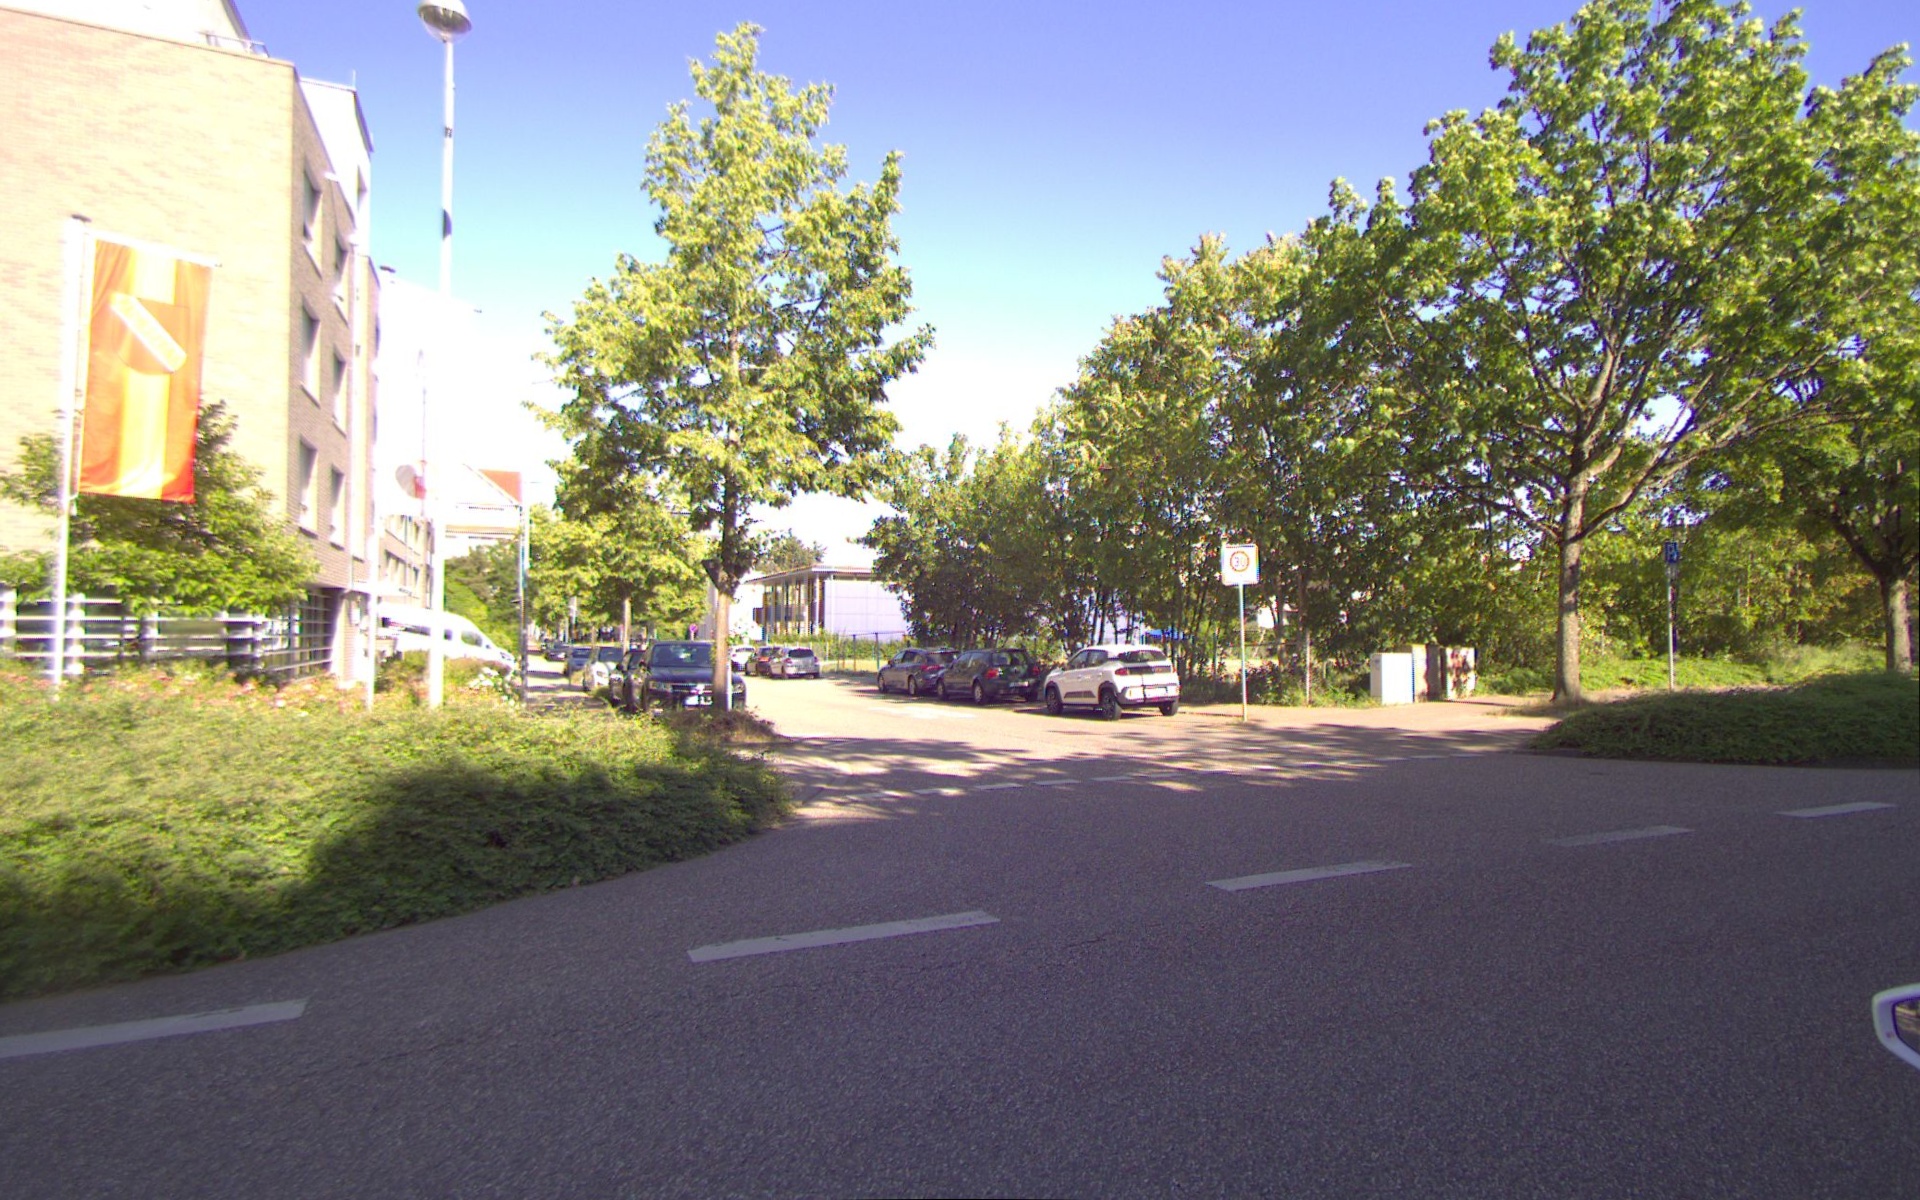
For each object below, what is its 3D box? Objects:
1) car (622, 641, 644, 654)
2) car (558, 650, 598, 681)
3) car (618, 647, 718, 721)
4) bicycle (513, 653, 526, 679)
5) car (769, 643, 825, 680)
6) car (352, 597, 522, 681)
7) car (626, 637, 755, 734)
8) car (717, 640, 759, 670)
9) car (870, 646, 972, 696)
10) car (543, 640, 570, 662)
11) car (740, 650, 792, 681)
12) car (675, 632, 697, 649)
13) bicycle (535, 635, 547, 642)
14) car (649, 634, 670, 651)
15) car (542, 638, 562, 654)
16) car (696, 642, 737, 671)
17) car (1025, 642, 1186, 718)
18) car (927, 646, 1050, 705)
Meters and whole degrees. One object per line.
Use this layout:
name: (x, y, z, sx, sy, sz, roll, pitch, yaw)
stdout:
car: (-36.917, 5.355, 113.339, 1.972, 1.505, 3.977, 1, -2, -24)
car: (-19.289, 3.261, 50.589, 1.594, 1.484, 3.850, 1, -2, -25)
car: (-6.875, 1.882, 23.409, 1.563, 1.523, 3.764, 1, -2, -27)
bicycle: (-20.095, 2.990, 45.825, 0.280, 1.139, 1.977, 1, -2, -17)
car: (-7.682, 2.850, 47.018, 1.645, 1.533, 3.977, 1, -1, -23)
car: (-20.026, 1.545, 38.701, 5.401, 2.411, 1.908, 10, -7, -27)
car: (-5.285, 1.581, 19.318, 1.866, 1.640, 4.317, 1, -3, -22)
car: (-12.916, 3.173, 58.357, 1.662, 1.562, 3.826, 1, -1, -24)
car: (-1.323, 2.205, 31.963, 1.659, 1.456, 4.412, 1, -3, -25)
car: (-30.814, 3.878, 76.859, 1.741, 1.547, 3.982, 3, -3, -20)
car: (-9.959, 3.308, 51.374, 1.670, 1.514, 4.054, 1, -3, -24)
car: (-33.310, 4.860, 122.094, 1.972, 2.040, 3.977, 1, -2, -24)
bicycle: (-52.521, 4.866, 125.926, 1.454, 0.853, 0.333, 1, -1, -29)
car: (-36.095, 5.075, 120.614, 2.002, 2.040, 3.977, 1, -2, -24)
car: (-42.360, 4.774, 104.246, 1.758, 1.550, 3.977, 1, -2, -24)
car: (-15.331, 3.502, 63.072, 1.708, 1.674, 4.300, -1, -1, -25)
car: (3.016, 1.688, 21.705, 1.601, 1.469, 4.070, 1, -4, -22)
car: (0.681, 2.003, 27.402, 1.805, 1.491, 4.046, 1, -3, -24)
